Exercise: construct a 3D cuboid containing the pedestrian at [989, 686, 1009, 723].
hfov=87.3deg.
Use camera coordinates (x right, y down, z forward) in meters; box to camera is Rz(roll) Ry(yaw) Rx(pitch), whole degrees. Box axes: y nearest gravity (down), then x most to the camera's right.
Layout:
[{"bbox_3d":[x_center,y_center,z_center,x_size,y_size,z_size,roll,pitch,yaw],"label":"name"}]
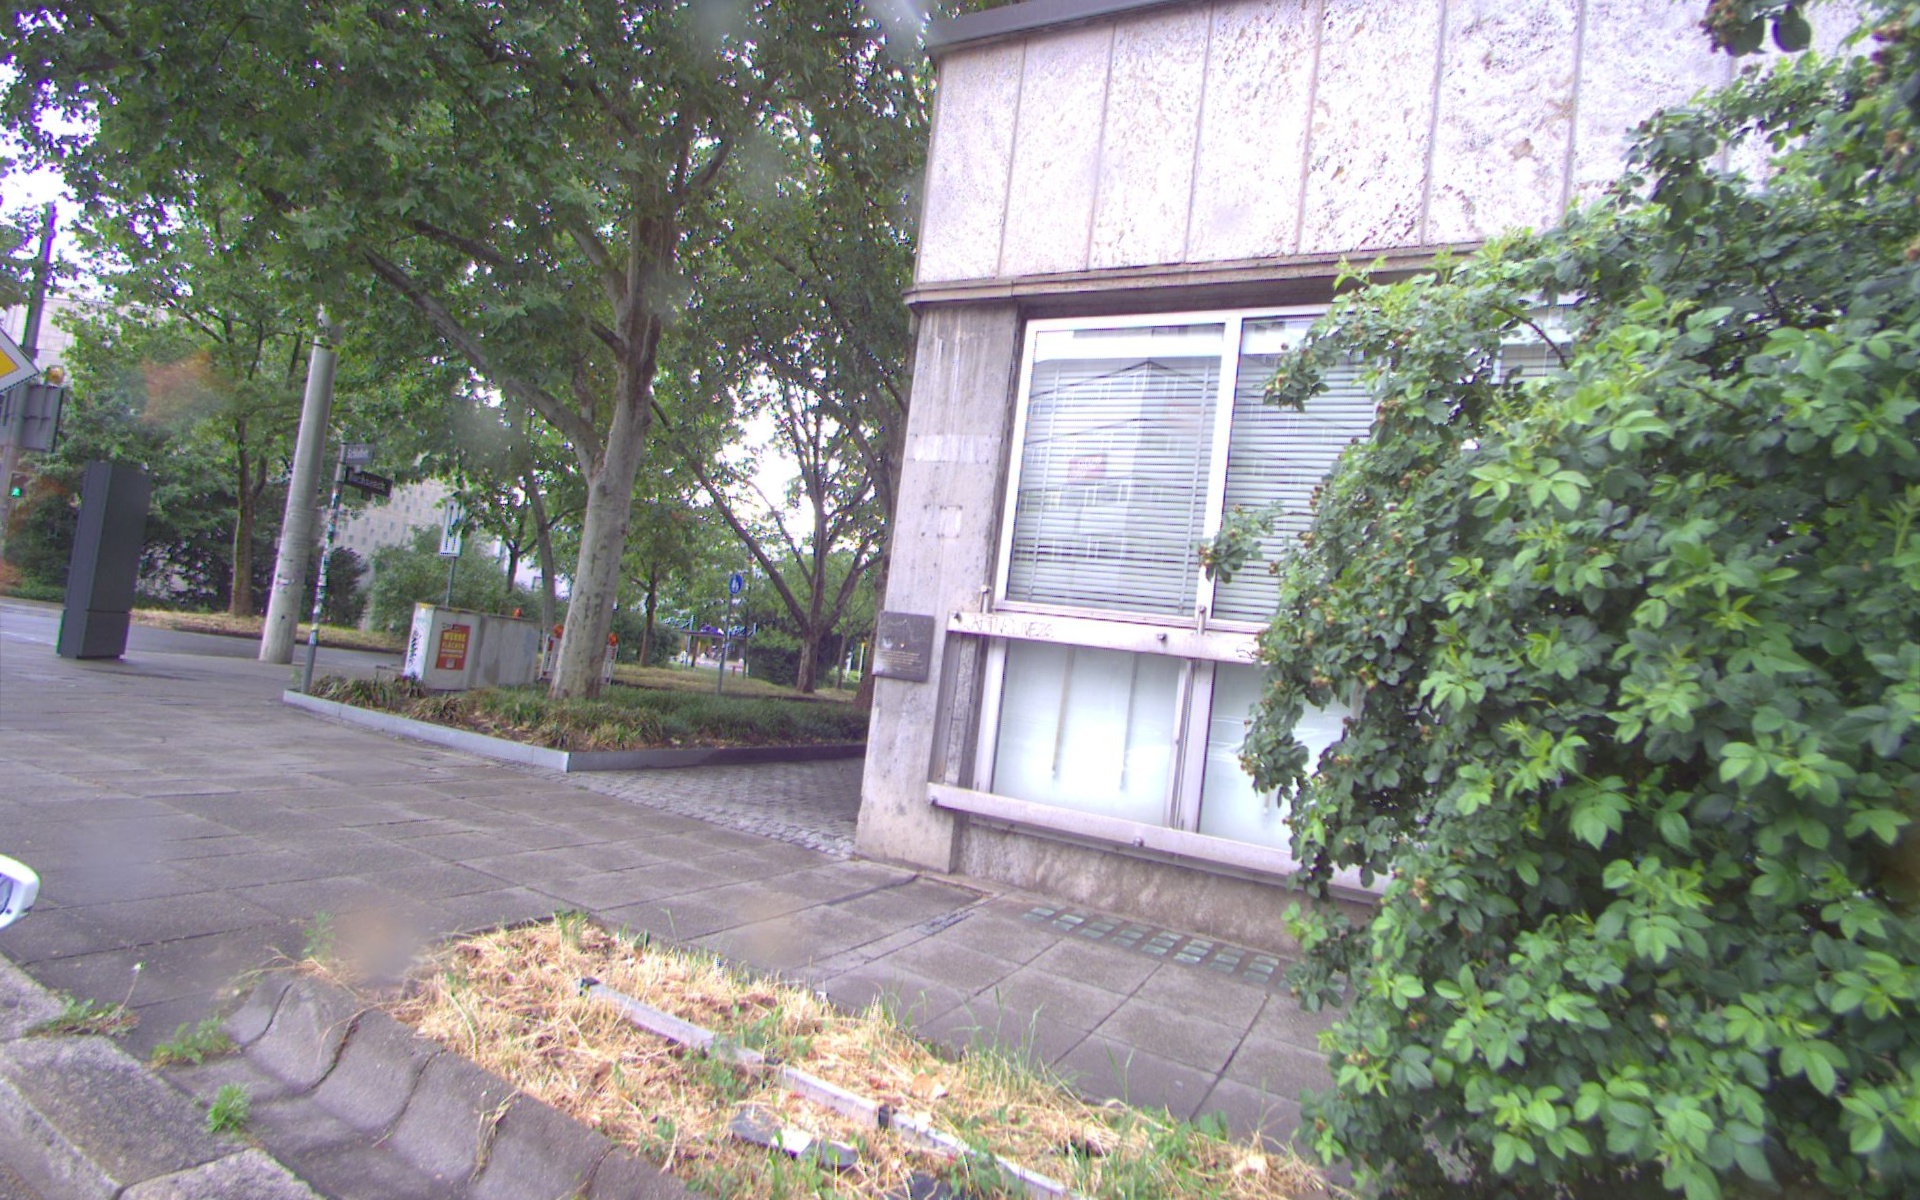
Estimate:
[{"bbox_3d":[1.895,5.038,48.527,0.512,1.655,0.936,6,-4,21],"label":"pedestrian"}]
